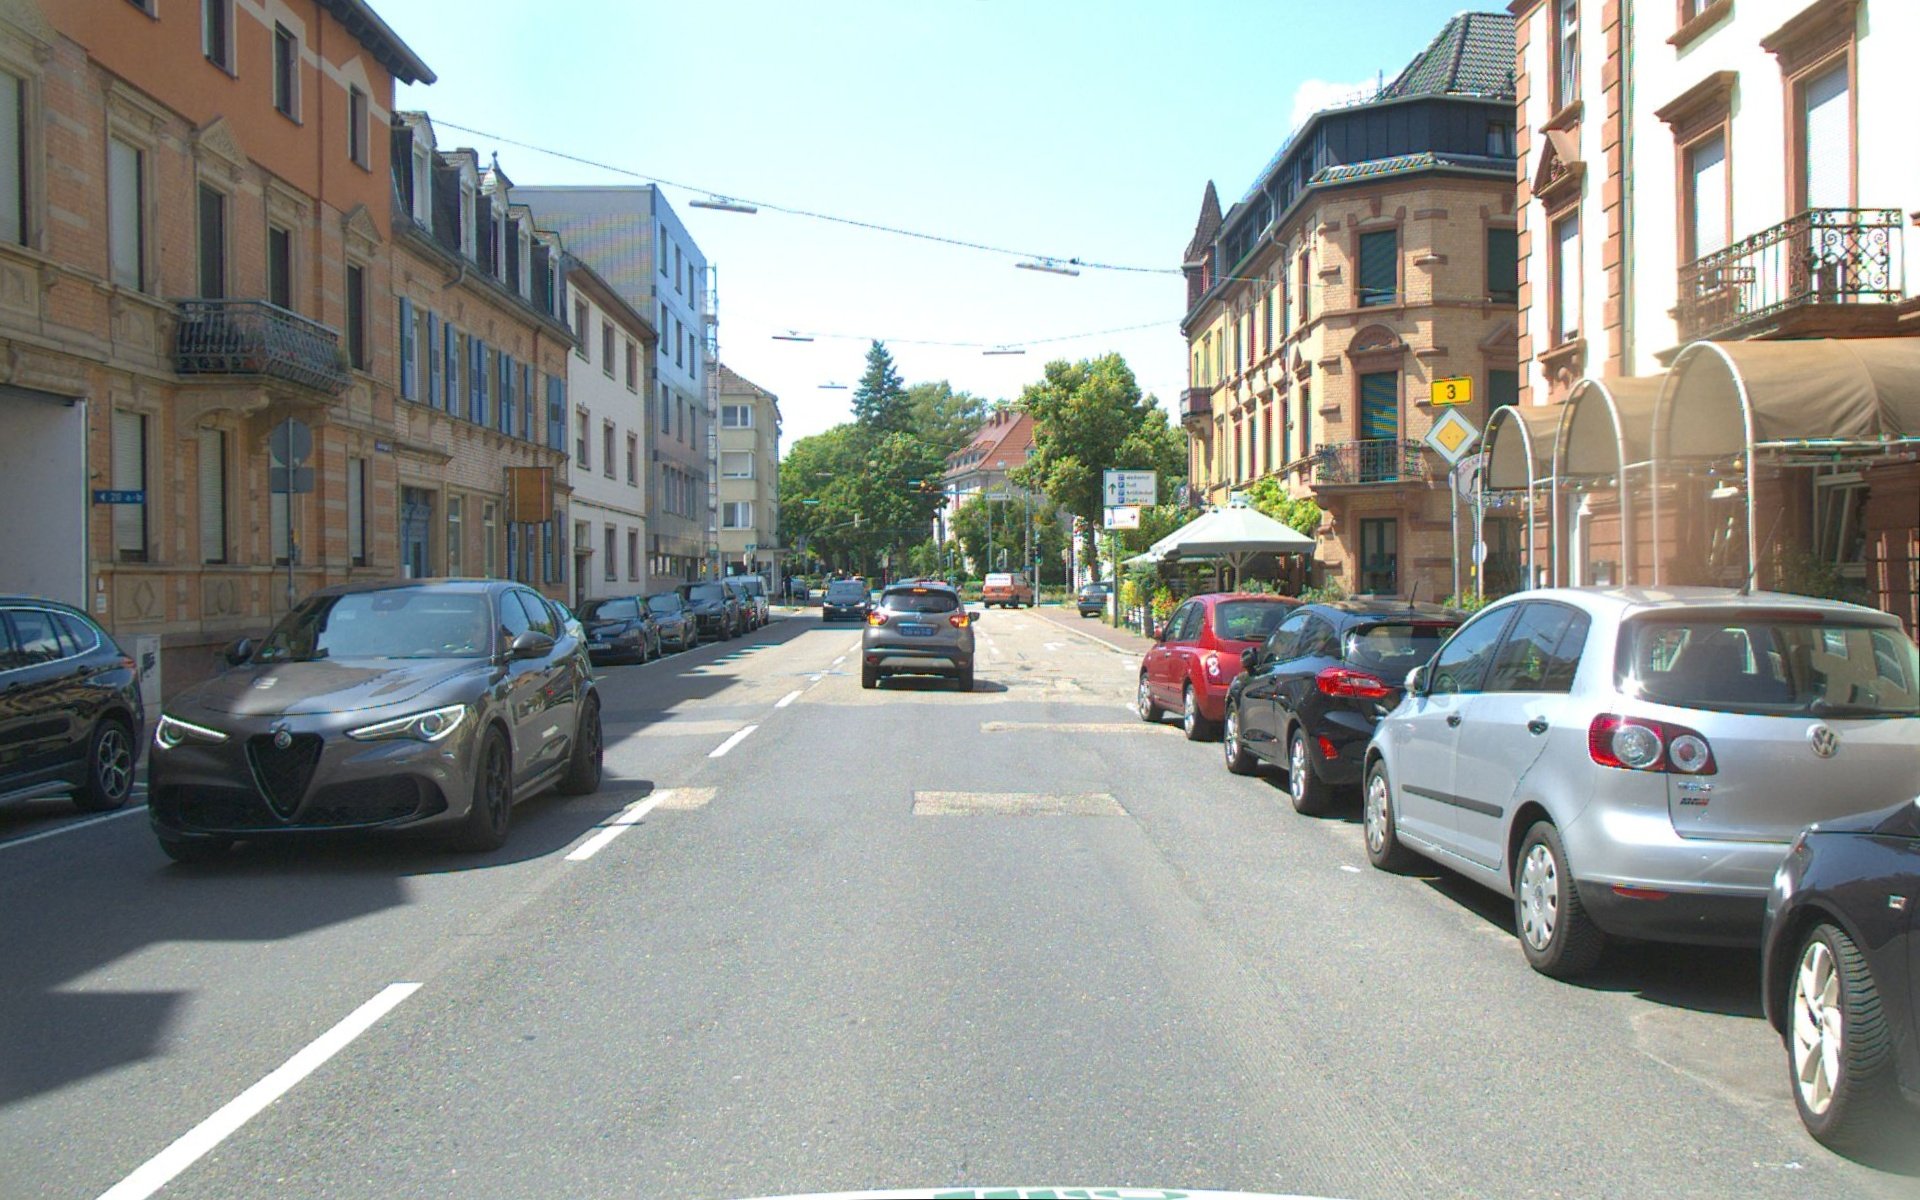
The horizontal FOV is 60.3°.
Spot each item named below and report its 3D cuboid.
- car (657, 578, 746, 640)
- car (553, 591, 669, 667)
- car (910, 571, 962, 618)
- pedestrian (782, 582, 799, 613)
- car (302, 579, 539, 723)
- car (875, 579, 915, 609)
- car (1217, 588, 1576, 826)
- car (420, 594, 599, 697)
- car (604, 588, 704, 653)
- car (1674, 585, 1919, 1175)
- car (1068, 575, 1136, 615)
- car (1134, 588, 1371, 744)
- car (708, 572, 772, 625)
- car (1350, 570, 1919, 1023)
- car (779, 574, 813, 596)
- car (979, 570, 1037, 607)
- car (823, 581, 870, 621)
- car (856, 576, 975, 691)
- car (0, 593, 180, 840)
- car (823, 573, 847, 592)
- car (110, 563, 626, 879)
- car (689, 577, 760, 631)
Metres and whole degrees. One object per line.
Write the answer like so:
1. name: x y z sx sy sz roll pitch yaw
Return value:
1. car: -7.499 0.233 48.431 1.846 1.669 4.817 -1 0 -1
2. car: -7.564 0.587 36.227 1.828 1.431 4.327 -4 1 -4
3. car: -0.816 -0.223 59.008 1.762 1.585 4.037 1 1 0
4. pedestrian: -10.687 -0.164 104.137 0.919 1.965 0.974 0 0 -13
5. car: -7.209 0.612 22.598 1.828 1.656 4.498 -4 1 -2
6. car: -3.670 -0.369 93.963 1.665 1.602 4.315 -1 1 5
7. car: 3.182 0.692 12.860 1.721 1.504 3.931 2 0 0
8. car: -7.435 0.689 27.730 1.827 1.450 4.330 -4 1 -1
9. car: -7.646 0.470 41.731 1.828 1.431 4.834 -4 1 -4
10. car: 3.329 0.748 3.720 1.721 1.504 3.931 2 0 0
11. car: 6.349 -0.235 73.261 1.796 1.575 5.159 0 2 19
12. car: 3.147 0.651 18.542 1.723 1.504 3.781 2 0 -4
13. car: -8.066 -0.077 61.008 1.875 1.857 4.786 -1 0 -3
14. car: 3.229 0.697 7.937 1.721 1.578 4.066 2 0 0
15. car: -12.307 -1.118 123.685 1.960 1.545 3.985 1 0 -14
16. car: 2.713 -0.640 92.107 1.952 2.011 4.503 0 0 20
17. car: -4.529 -0.005 66.200 1.724 1.520 4.244 -1 1 -2
18. car: -0.664 0.459 26.360 1.718 1.660 4.000 1 1 0
19. car: -7.116 0.808 10.946 1.828 1.578 4.498 -4 1 -2
20. car: -13.365 -1.891 177.227 1.959 1.939 3.986 1 1 -14
21. car: -3.600 0.624 11.038 1.869 1.639 4.446 -1 0 -1
22. car: -7.743 0.098 54.721 1.847 1.669 4.661 -1 0 -3
